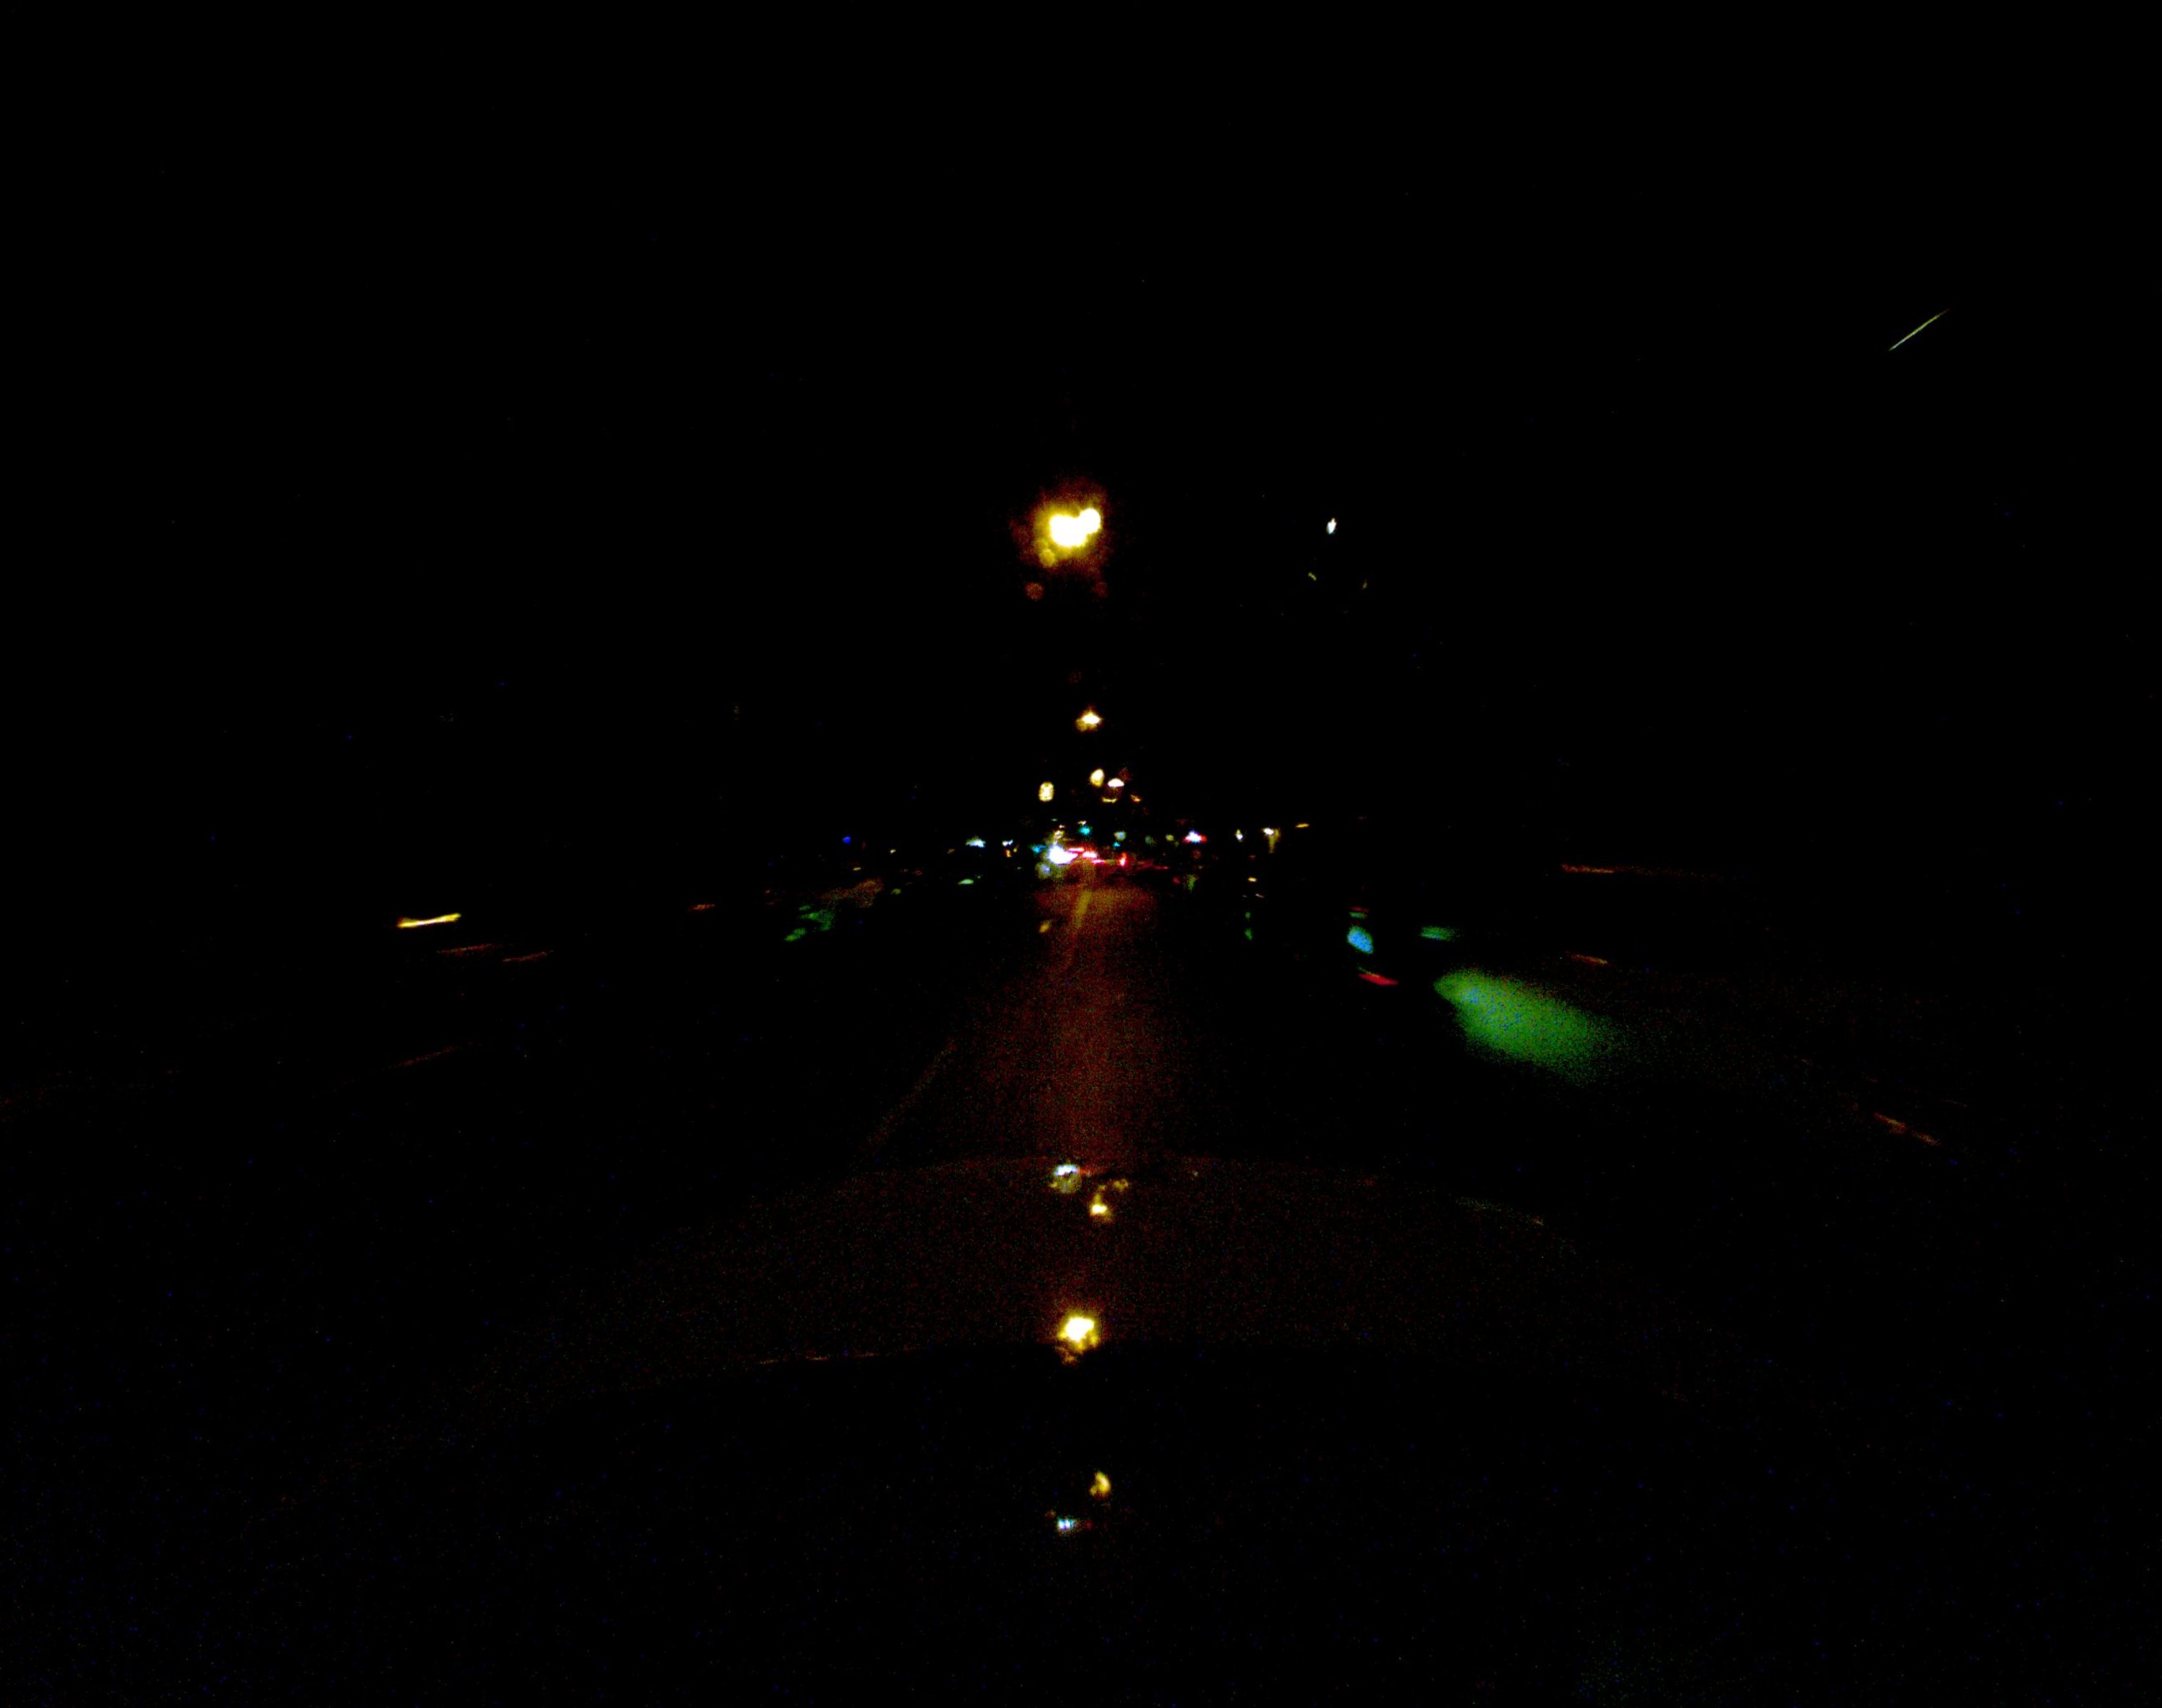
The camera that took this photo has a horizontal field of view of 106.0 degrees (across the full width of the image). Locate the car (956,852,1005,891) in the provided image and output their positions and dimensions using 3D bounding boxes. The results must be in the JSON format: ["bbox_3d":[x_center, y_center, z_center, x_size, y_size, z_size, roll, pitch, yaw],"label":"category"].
[{"bbox_3d":[-4.393,0.736,35.867,1.425,1.460,3.377,-6,0,3],"label":"car"}]

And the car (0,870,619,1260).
[{"bbox_3d":[-5.412,1.009,5.607,1.659,1.539,4.395,-4,1,3],"label":"car"}]

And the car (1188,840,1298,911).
[{"bbox_3d":[3.870,0.457,20.172,1.789,1.447,4.279,-4,1,0],"label":"car"}]

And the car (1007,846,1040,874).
[{"bbox_3d":[-3.852,0.379,55.118,1.592,1.605,4.261,-6,0,2],"label":"car"}]

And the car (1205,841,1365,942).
[{"bbox_3d":[3.599,0.585,15.142,1.790,1.491,4.127,-4,1,-1],"label":"car"}]

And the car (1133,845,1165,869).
[{"bbox_3d":[4.659,0.172,56.346,1.816,1.421,4.489,-4,1,1],"label":"car"}]

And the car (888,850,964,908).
[{"bbox_3d":[-5.112,0.766,27.384,1.742,1.597,4.386,-6,0,-3],"label":"car"}]

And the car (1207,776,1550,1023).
[{"bbox_3d":[2.971,0.354,9.794,1.790,1.950,5.852,-4,1,-1],"label":"car"}]

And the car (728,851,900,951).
[{"bbox_3d":[-5.144,0.809,16.403,1.659,1.539,4.395,-6,0,3],"label":"car"}]

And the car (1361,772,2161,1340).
[{"bbox_3d":[3.133,0.526,4.317,1.790,1.547,3.950,-4,1,-1],"label":"car"}]

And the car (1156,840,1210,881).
[{"bbox_3d":[3.722,0.217,30.131,1.451,1.306,3.628,-4,1,0],"label":"car"}]

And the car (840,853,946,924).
[{"bbox_3d":[-4.932,0.830,21.943,1.660,1.539,4.390,-6,0,0],"label":"car"}]

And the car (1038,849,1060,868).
[{"bbox_3d":[-3.007,0.386,76.574,1.592,1.563,4.382,-6,0,2],"label":"car"}]

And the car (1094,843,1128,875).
[{"bbox_3d":[2.043,0.318,56.023,2.160,1.972,4.304,-4,0,2],"label":"car"}]

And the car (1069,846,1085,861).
[{"bbox_3d":[-0.593,-0.051,119.756,2.029,1.953,5.196,-5,1,-2],"label":"car"}]

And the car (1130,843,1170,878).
[{"bbox_3d":[3.440,0.276,40.891,1.816,1.547,4.357,-4,1,4],"label":"car"}]

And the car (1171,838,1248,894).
[{"bbox_3d":[3.941,0.330,25.601,1.669,1.487,4.279,-4,1,0],"label":"car"}]

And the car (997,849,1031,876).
[{"bbox_3d":[-4.102,0.523,50.466,1.593,1.431,4.004,-6,0,0],"label":"car"}]

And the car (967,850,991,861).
[{"bbox_3d":[-14.531,0.184,116.500,1.699,1.431,3.939,-3,1,21],"label":"car"}]

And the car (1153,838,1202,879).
[{"bbox_3d":[4.162,0.140,35.815,1.747,1.547,4.982,-4,1,3],"label":"car"}]

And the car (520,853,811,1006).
[{"bbox_3d":[-5.338,0.836,11.247,1.660,1.539,4.390,-4,1,0],"label":"car"}]
